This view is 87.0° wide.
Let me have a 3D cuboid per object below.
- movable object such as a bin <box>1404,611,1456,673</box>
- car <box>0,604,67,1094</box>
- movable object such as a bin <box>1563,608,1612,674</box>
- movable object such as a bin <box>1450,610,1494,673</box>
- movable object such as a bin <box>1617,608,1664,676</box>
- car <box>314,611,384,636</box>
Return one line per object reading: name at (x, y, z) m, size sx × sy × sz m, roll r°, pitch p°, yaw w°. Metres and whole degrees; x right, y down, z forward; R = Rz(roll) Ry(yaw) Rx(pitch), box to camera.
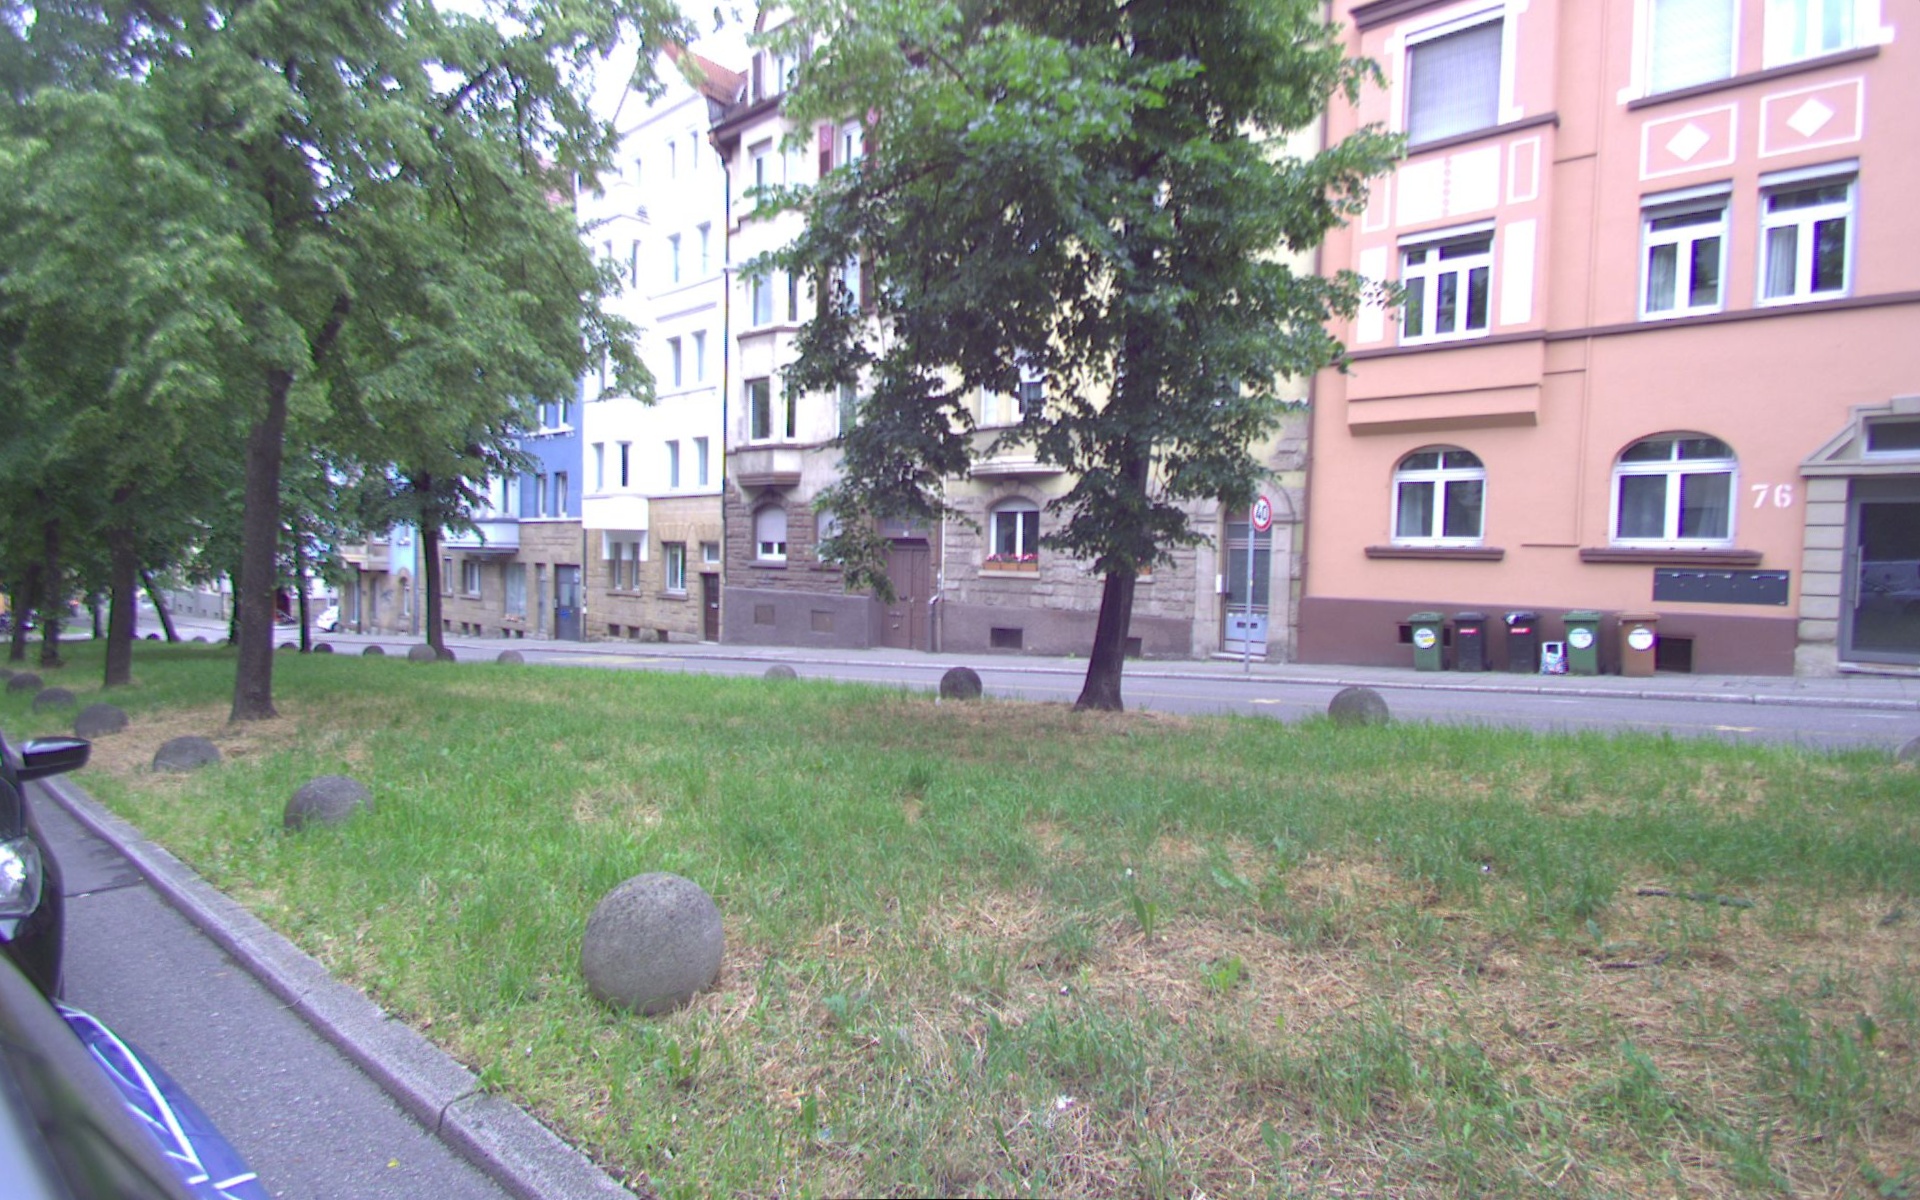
movable object such as a bin at (7.512, 0.654, 16.166) m, size 0.617 × 0.955 × 0.610 m, roll -1°, pitch 0°, yaw 40°
car at (-4.567, 0.751, 3.648) m, size 3.295 × 1.476 × 1.590 m, roll -1°, pitch -2°, yaw 41°
movable object such as a bin at (9.157, 0.588, 14.765) m, size 0.559 × 0.928 × 0.648 m, roll -1°, pitch 0°, yaw 36°
movable object such as a bin at (7.989, 0.633, 15.794) m, size 0.531 × 0.953 × 0.575 m, roll -1°, pitch 0°, yaw 35°
movable object such as a bin at (9.649, 0.581, 14.348) m, size 0.514 × 0.928 × 0.750 m, roll -1°, pitch 0°, yaw 36°
car at (-35.299, 1.314, 58.450) m, size 3.244 × 1.341 × 1.674 m, roll -1°, pitch 0°, yaw -40°
